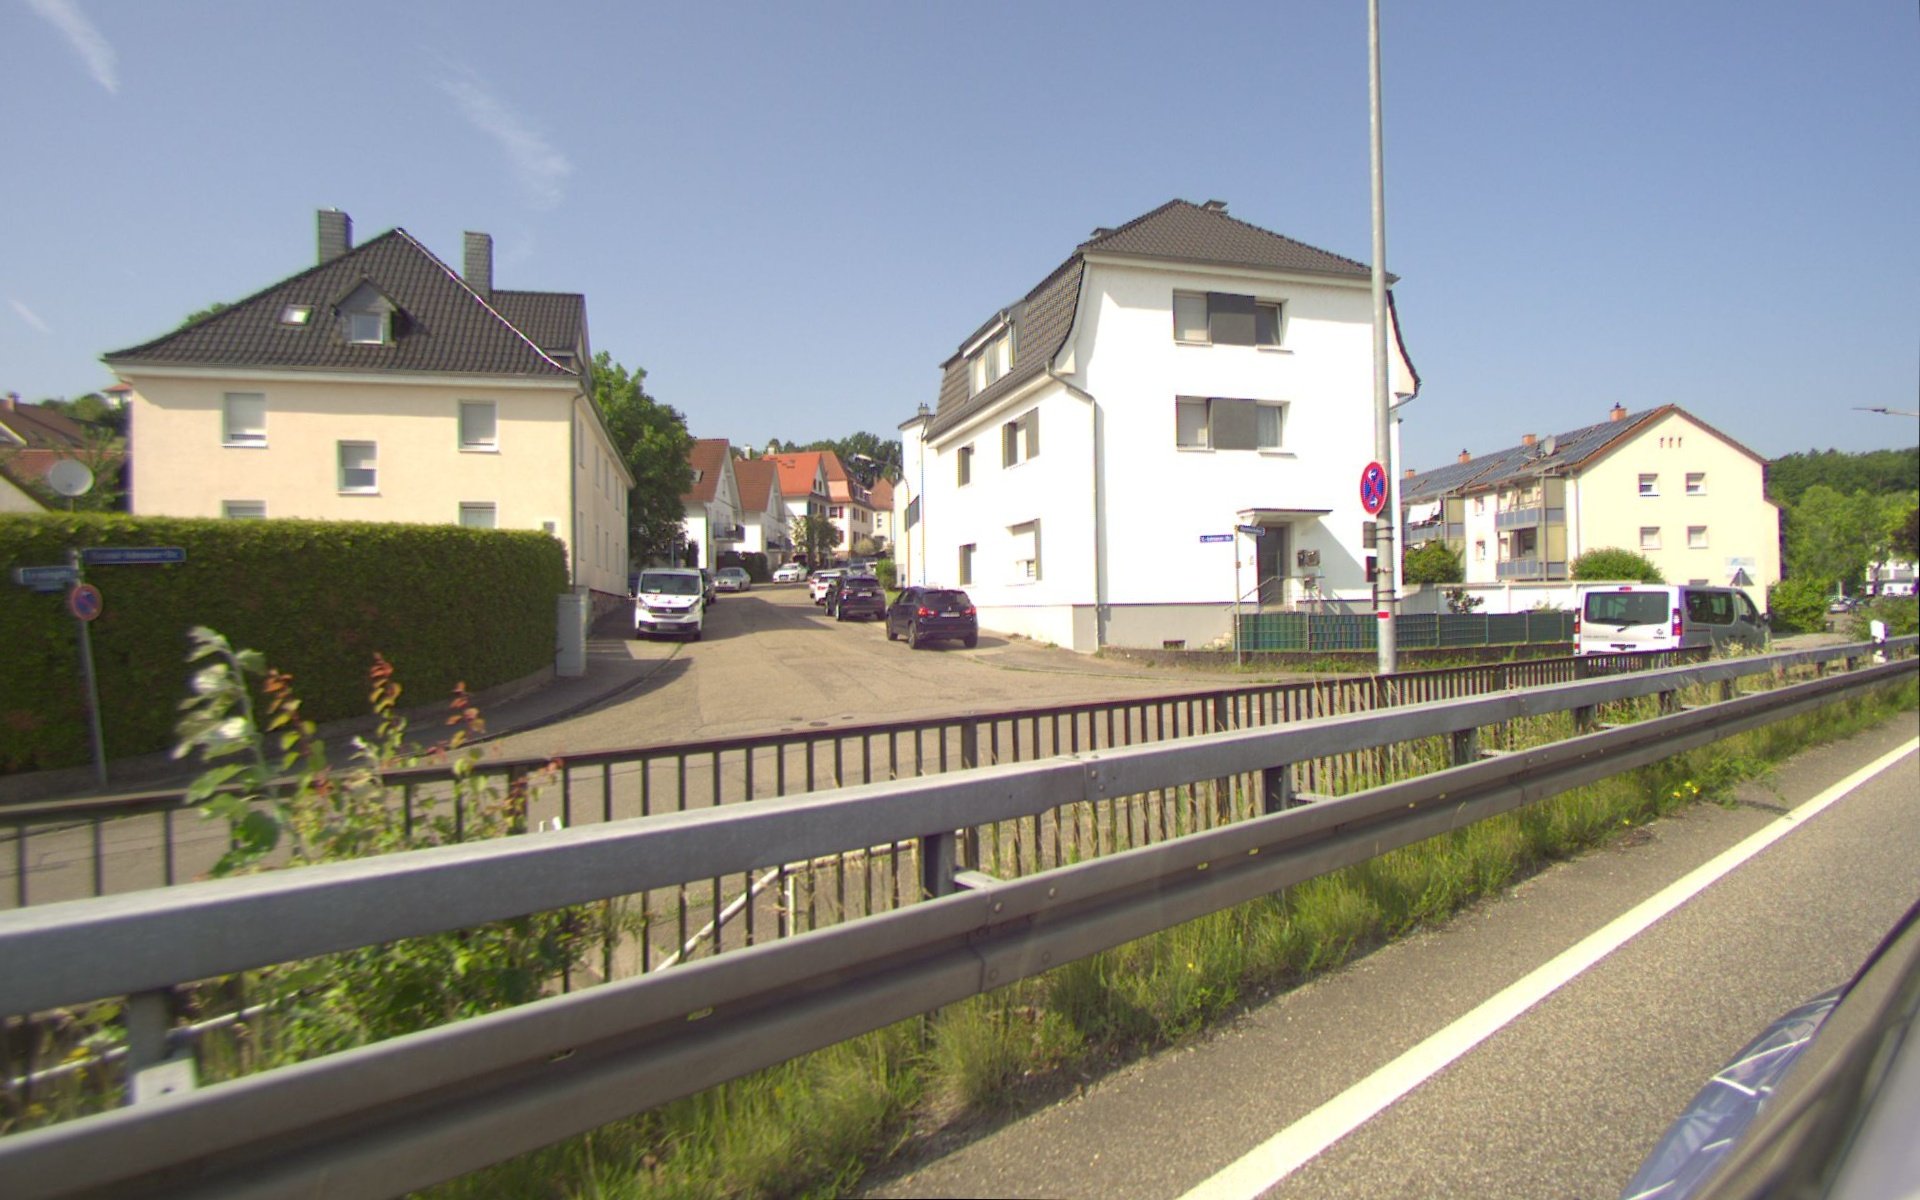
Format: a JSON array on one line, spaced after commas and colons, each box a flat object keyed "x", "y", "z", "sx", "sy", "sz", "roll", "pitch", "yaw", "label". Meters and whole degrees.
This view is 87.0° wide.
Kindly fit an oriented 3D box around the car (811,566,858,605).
[{"x": -5.924, "y": -0.715, "z": 47.419, "sx": 1.919, "sy": 1.684, "sz": 4.009, "roll": 0, "pitch": 3, "yaw": -10, "label": "car"}]

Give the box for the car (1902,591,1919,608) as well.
[{"x": 83.706, "y": -0.042, "z": 88.125, "sx": 1.903, "sy": 1.423, "sz": 4.465, "roll": 0, "pitch": 1, "yaw": 37, "label": "car"}]

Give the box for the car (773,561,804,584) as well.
[{"x": -13.195, "y": -2.145, "z": 77.962, "sx": 1.921, "sy": 1.684, "sz": 4.005, "roll": 0, "pitch": 3, "yaw": -3, "label": "car"}]

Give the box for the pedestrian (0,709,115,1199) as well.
[{"x": -3.592, "y": 1.467, "z": 3.499, "sx": 0.979, "sy": 2.039, "sz": 0.790, "roll": 0, "pitch": 0, "yaw": -37, "label": "pedestrian"}]

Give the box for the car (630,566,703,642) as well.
[{"x": -8.663, "y": 0.027, "z": 30.182, "sx": 1.919, "sy": 2.008, "sz": 4.852, "roll": -1, "pitch": 3, "yaw": -14, "label": "car"}]

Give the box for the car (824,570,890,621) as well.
[{"x": -3.864, "y": -0.214, "z": 37.406, "sx": 1.958, "sy": 1.684, "sz": 4.010, "roll": -1, "pitch": 3, "yaw": -13, "label": "car"}]

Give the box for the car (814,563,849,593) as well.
[{"x": -7.531, "y": -1.319, "z": 59.488, "sx": 1.920, "sy": 1.684, "sz": 4.006, "roll": 0, "pitch": 3, "yaw": -6, "label": "car"}]

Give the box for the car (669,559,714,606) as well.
[{"x": -12.372, "y": -0.866, "z": 46.795, "sx": 1.919, "sy": 2.008, "sz": 4.852, "roll": -1, "pitch": 3, "yaw": -14, "label": "car"}]

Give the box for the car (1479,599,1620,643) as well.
[{"x": 20.612, "y": 0.696, "z": 35.648, "sx": 1.719, "sy": 1.365, "sz": 4.619, "roll": 1, "pitch": 1, "yaw": -9, "label": "car"}]

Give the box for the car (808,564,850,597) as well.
[{"x": -6.983, "y": -1.082, "z": 54.252, "sx": 1.921, "sy": 1.684, "sz": 4.005, "roll": 0, "pitch": 3, "yaw": -3, "label": "car"}]

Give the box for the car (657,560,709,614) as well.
[{"x": -11.256, "y": -0.585, "z": 41.292, "sx": 1.919, "sy": 2.008, "sz": 4.852, "roll": -1, "pitch": 3, "yaw": -14, "label": "car"}]

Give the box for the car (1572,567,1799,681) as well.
[{"x": 14.222, "y": 0.406, "z": 19.732, "sx": 5.259, "sy": 1.969, "sz": 2.000, "roll": 0, "pitch": 0, "yaw": -35, "label": "car"}]

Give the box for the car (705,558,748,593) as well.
[{"x": -14.151, "y": -1.552, "z": 61.458, "sx": 1.921, "sy": 2.008, "sz": 4.847, "roll": 0, "pitch": 3, "yaw": -5, "label": "car"}]

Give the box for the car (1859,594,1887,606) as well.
[{"x": 93.919, "y": -0.021, "z": 104.117, "sx": 1.582, "sy": 1.201, "sz": 3.620, "roll": -1, "pitch": 1, "yaw": 33, "label": "car"}]

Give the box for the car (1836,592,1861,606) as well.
[{"x": 96.184, "y": -0.132, "z": 109.576, "sx": 1.777, "sy": 1.493, "sz": 3.935, "roll": 0, "pitch": 1, "yaw": 37, "label": "car"}]

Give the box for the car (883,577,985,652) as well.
[{"x": -0.806, "y": 0.326, "z": 27.658, "sx": 1.959, "sy": 1.683, "sz": 4.010, "roll": -4, "pitch": 3, "yaw": -13, "label": "car"}]
